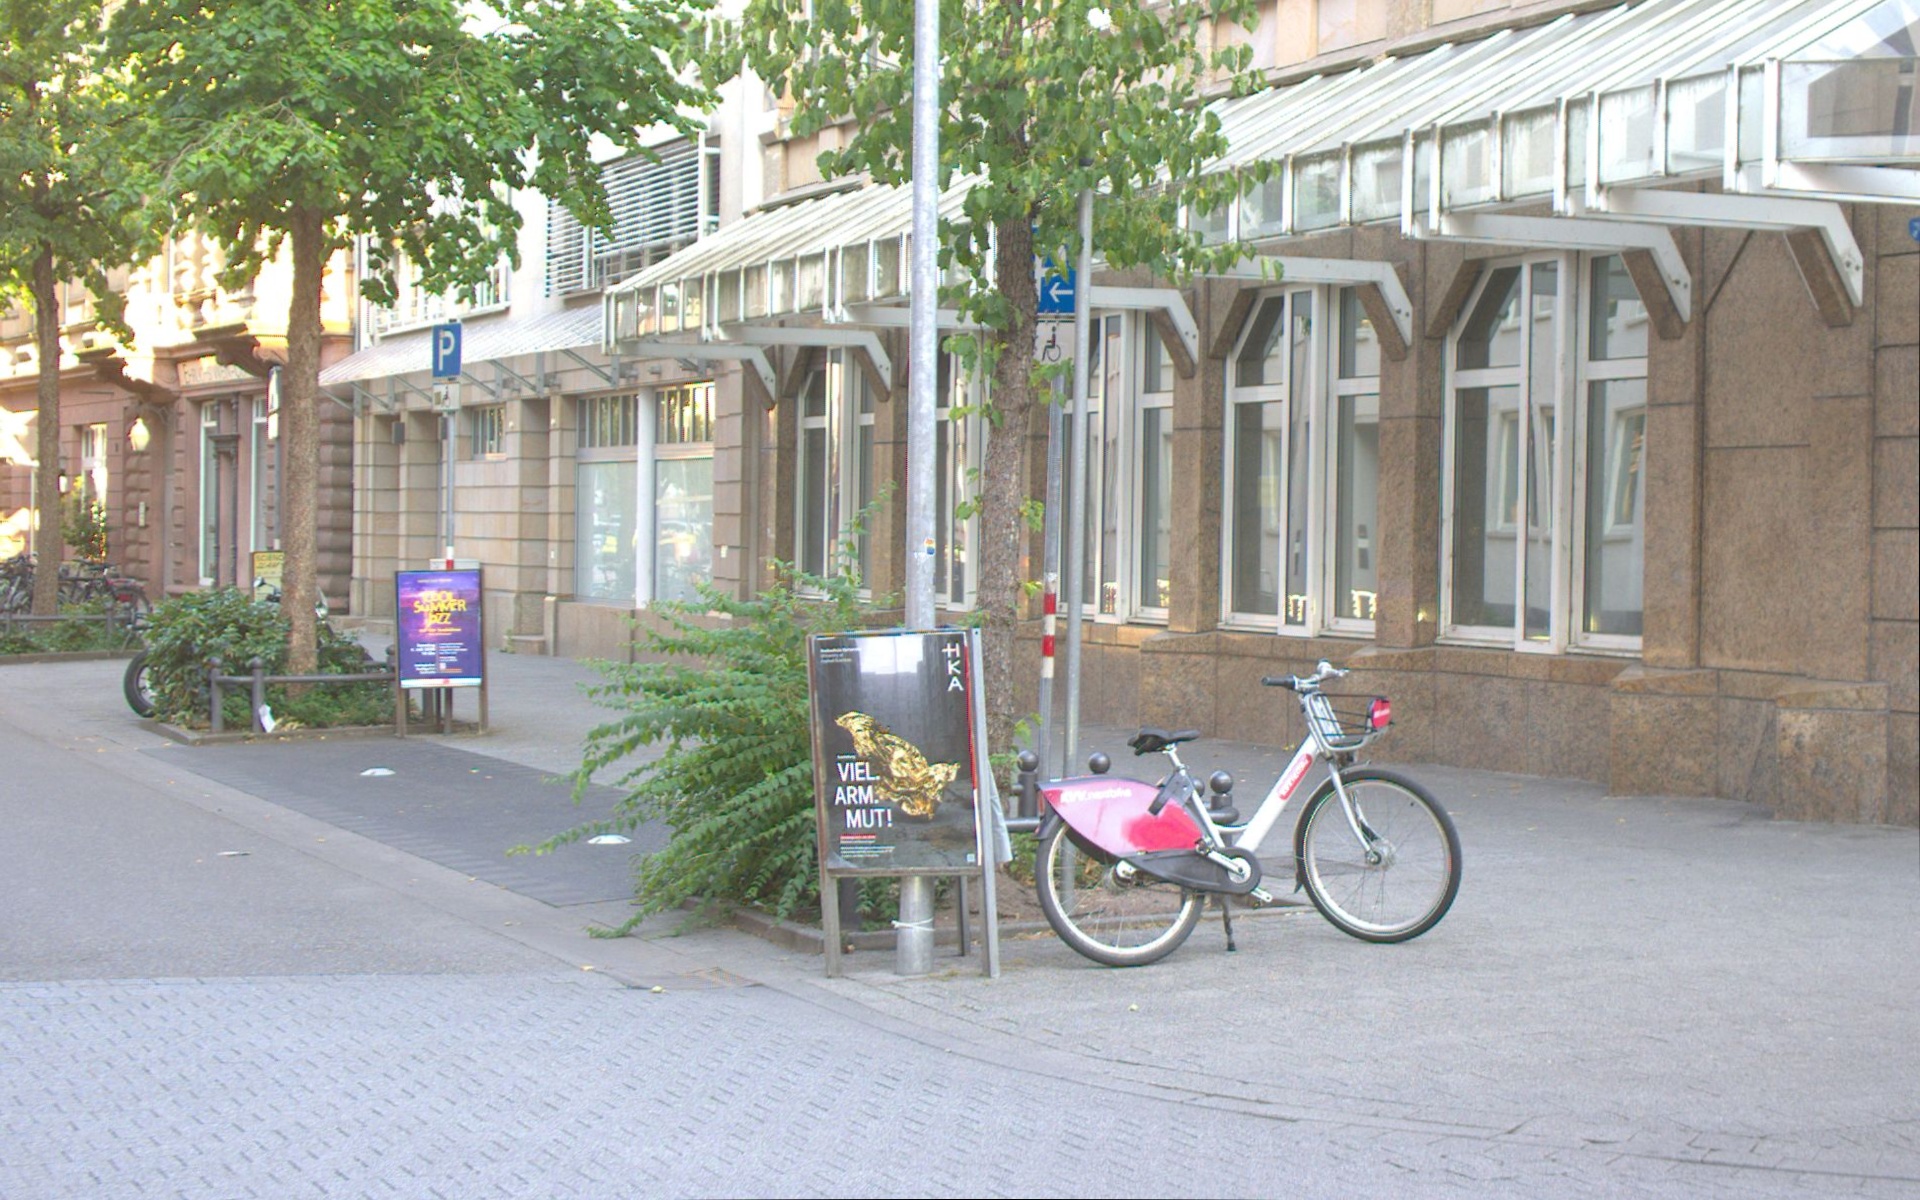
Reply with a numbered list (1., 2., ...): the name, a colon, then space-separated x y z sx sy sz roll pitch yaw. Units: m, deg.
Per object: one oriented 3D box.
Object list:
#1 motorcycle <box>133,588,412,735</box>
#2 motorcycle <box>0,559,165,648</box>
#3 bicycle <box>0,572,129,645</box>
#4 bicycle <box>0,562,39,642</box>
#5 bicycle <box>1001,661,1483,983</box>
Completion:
1. motorcycle: -5.539 0.484 27.759 2.152 1.147 0.494 0 0 -26
2. motorcycle: -11.212 0.036 43.139 0.590 1.091 2.473 0 1 44
3. bicycle: -11.789 0.100 44.098 2.153 0.922 0.590 0 1 -39
4. bicycle: -13.319 0.026 45.484 2.152 1.057 0.591 0 0 -9
5. bicycle: 1.027 0.804 12.721 1.655 1.047 0.663 -2 3 -5
